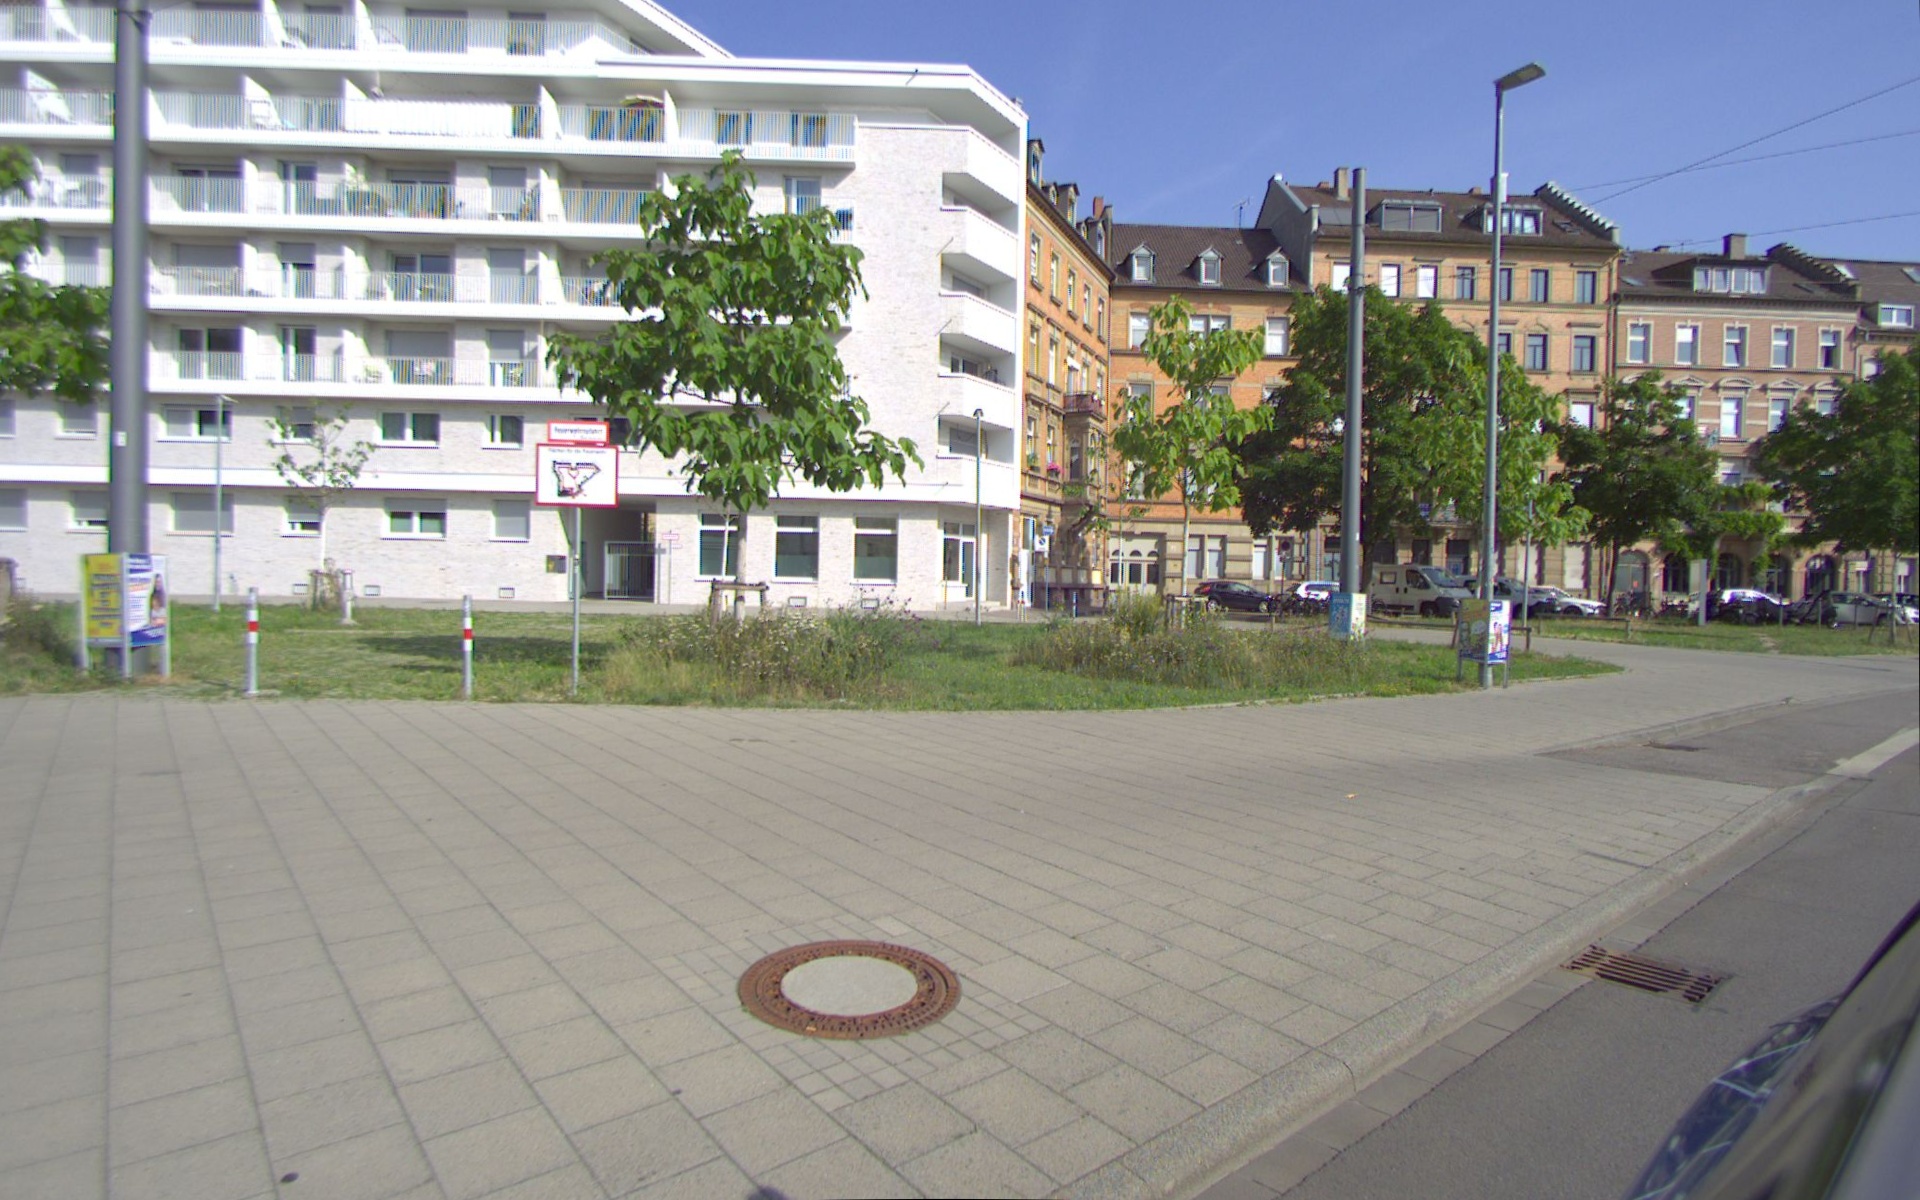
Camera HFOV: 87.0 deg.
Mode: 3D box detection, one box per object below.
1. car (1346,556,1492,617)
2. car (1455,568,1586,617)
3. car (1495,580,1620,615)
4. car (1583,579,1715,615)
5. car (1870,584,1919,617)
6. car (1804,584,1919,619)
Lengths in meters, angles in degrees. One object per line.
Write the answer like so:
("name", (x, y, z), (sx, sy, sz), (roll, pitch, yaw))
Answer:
("car", (17.792, -0.551, 39.544), (1.842, 2.205, 5.053), (1, 1, -29))
("car", (21.422, -0.319, 38.794), (1.845, 1.727, 3.984), (0, 1, -36))
("car", (23.367, -0.123, 39.681), (1.689, 1.265, 3.855), (0, 1, -36))
("car", (26.538, -0.136, 39.073), (1.689, 1.265, 3.855), (0, 1, -36))
("car", (38.521, 0.060, 39.778), (1.689, 1.265, 3.855), (0, 1, -36))
("car", (35.982, 0.042, 39.902), (1.689, 1.265, 3.855), (0, 1, -36))
